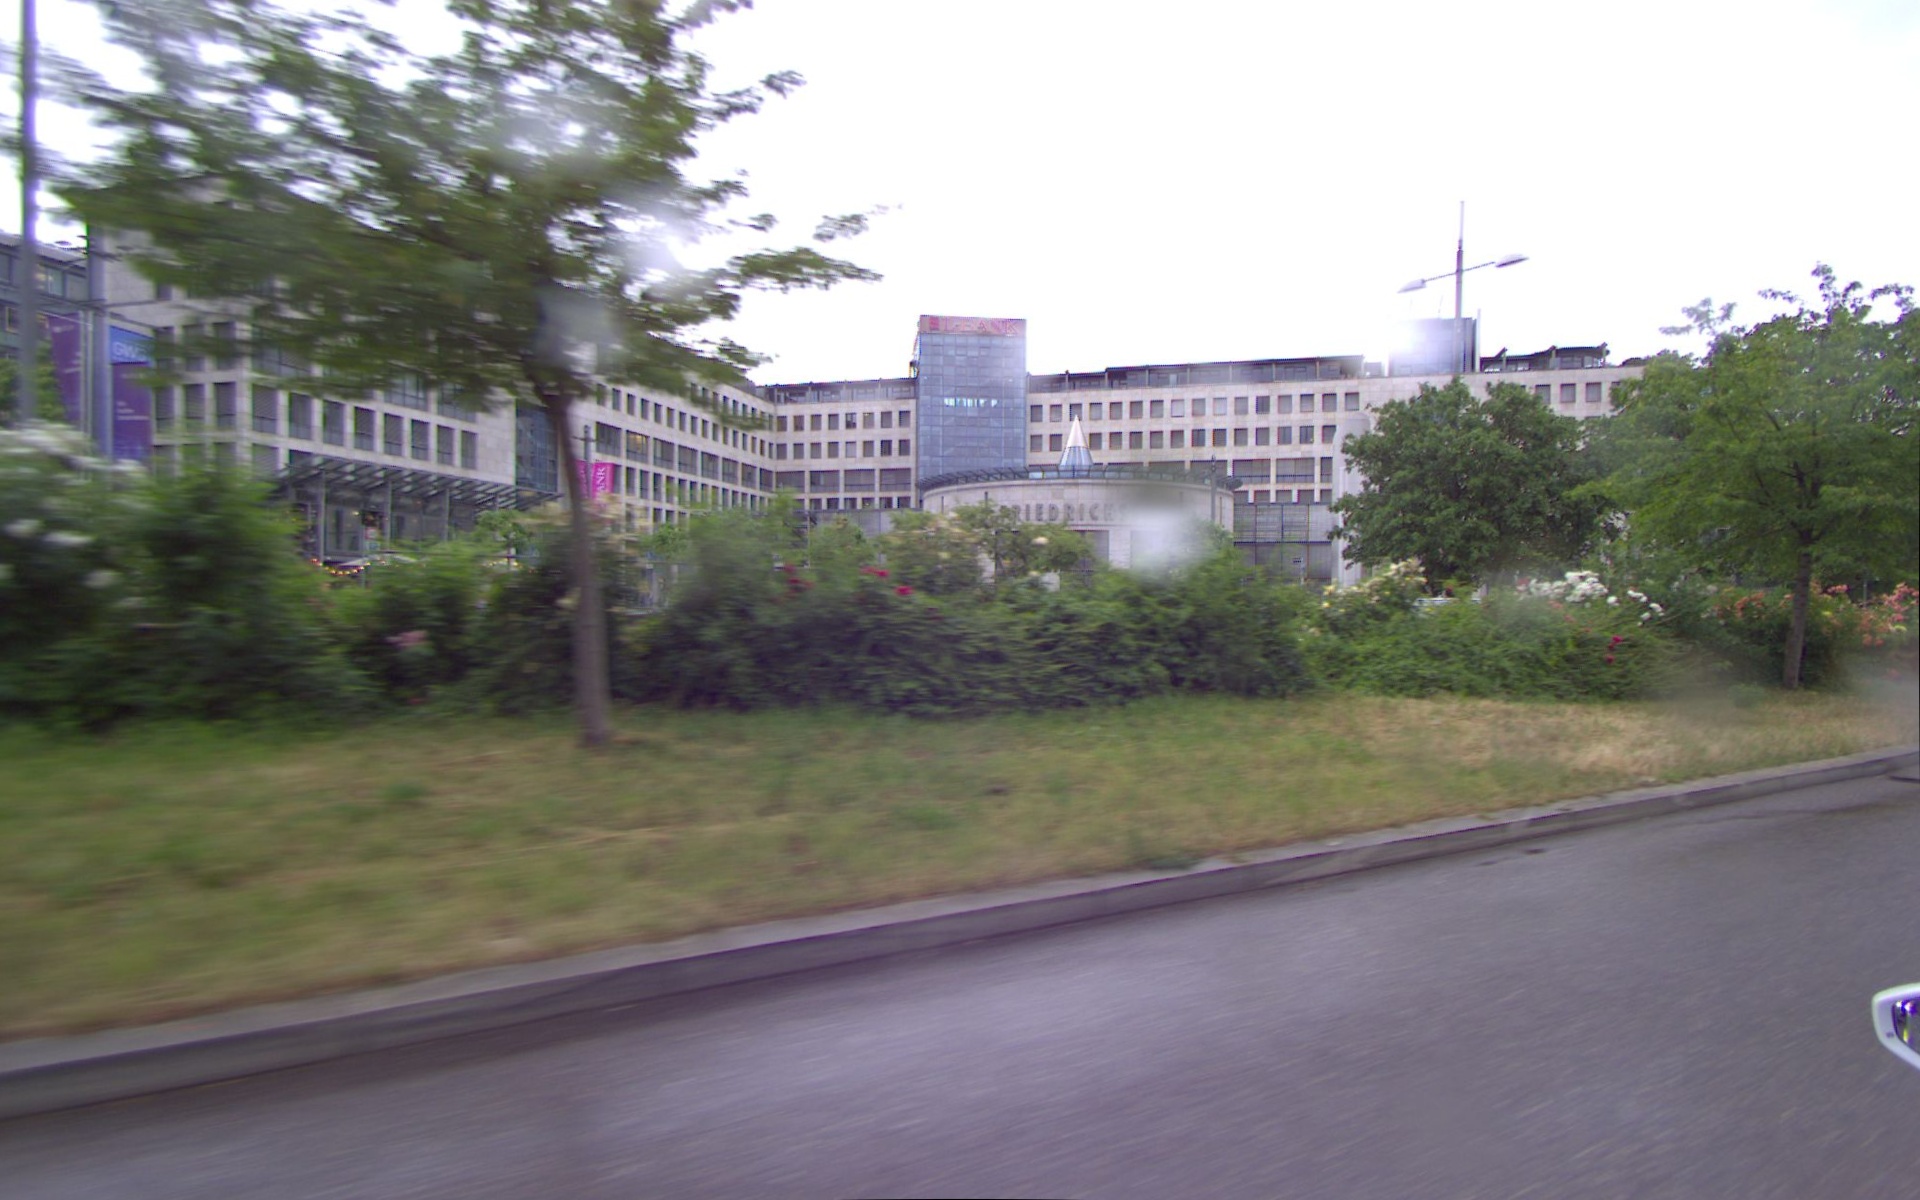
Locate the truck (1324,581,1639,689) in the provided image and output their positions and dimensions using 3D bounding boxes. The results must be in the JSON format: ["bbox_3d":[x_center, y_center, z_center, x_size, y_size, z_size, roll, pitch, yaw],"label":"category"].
[{"bbox_3d":[14.101,0.922,27.023,8.369,2.544,3.354,2,0,-28],"label":"truck"}]
